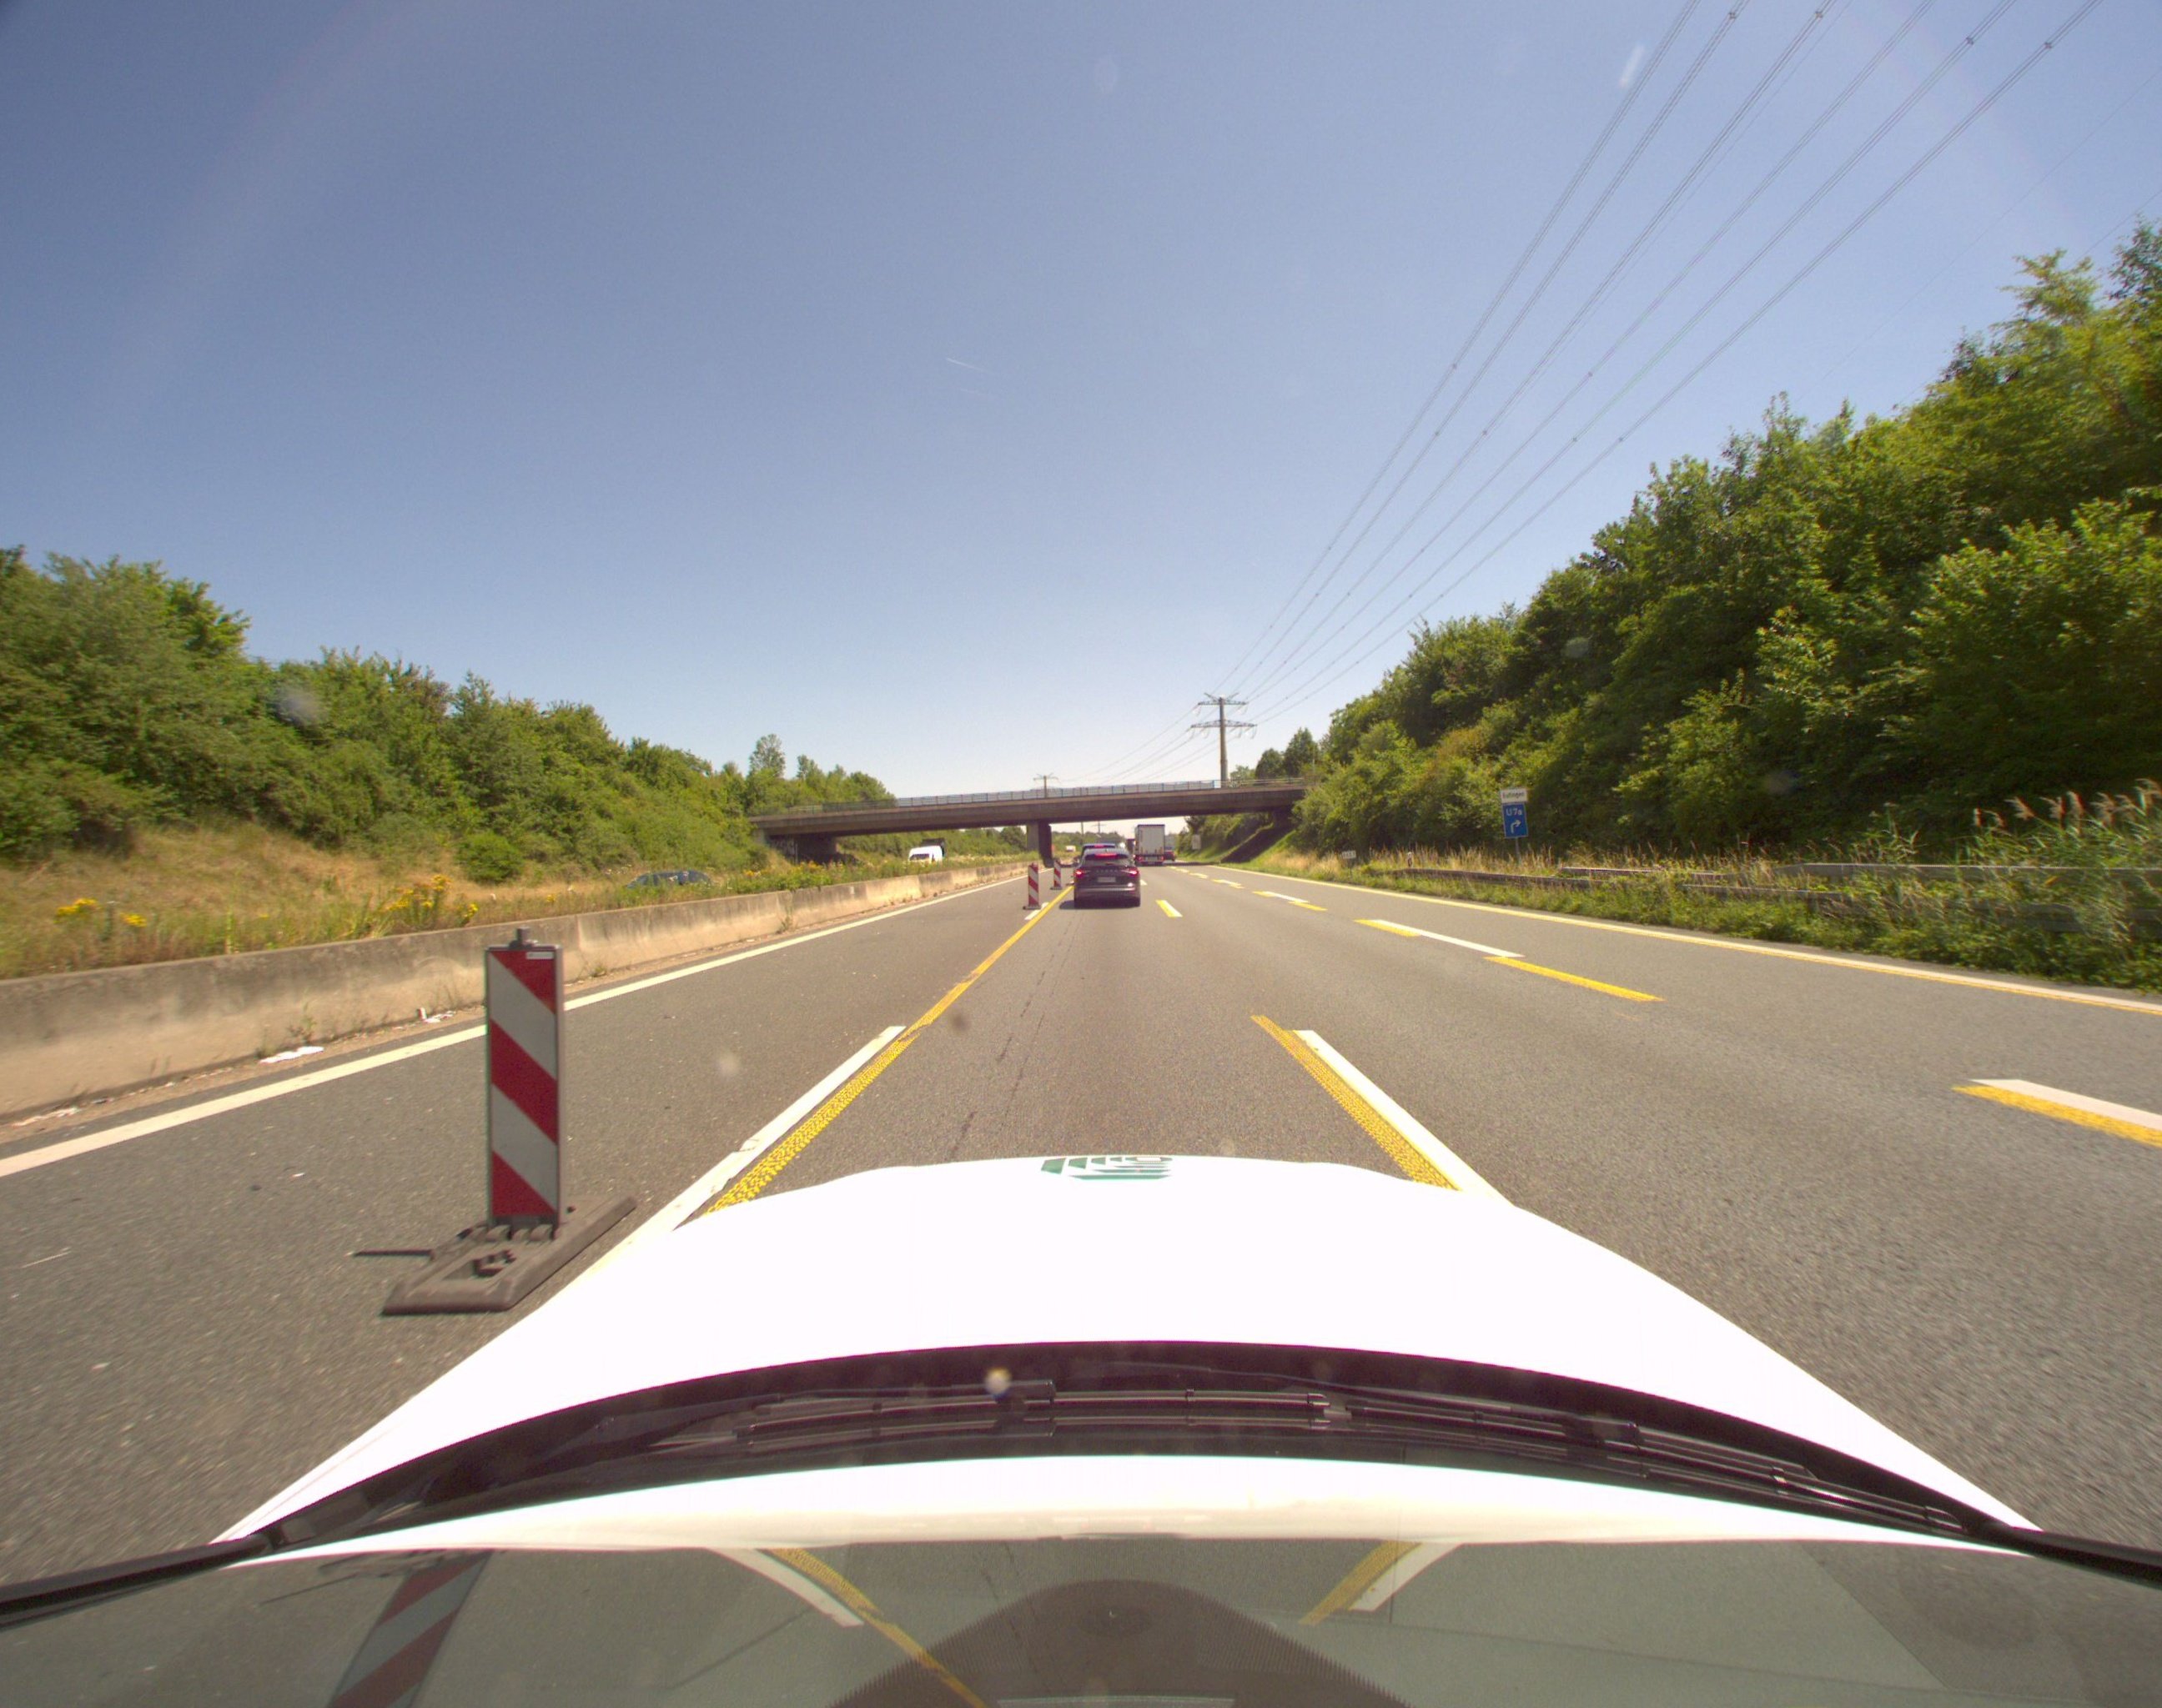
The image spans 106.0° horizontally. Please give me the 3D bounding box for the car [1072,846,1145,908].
[{"bbox_3d":[0.749,0.580,23.574,1.889,1.592,4.443,-1,1,0],"label":"car"}]

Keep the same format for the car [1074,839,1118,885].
[{"bbox_3d":[0.693,0.308,38.415,1.889,1.841,4.444,1,3,1],"label":"car"}]

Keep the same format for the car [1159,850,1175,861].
[{"bbox_3d":[11.827,0.169,112.360,1.772,1.489,4.465,-1,0,1],"label":"car"}]

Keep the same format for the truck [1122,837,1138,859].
[{"bbox_3d":[9.613,-1.230,160.885,3.065,4.146,13.063,-1,0,3],"label":"truck"}]

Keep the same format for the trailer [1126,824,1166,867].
[{"bbox_3d":[6.522,-0.877,83.409,3.055,4.042,11.487,-1,0,0],"label":"trailer"}]

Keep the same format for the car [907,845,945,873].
[{"bbox_3d":[-12.815,0.380,67.762,2.105,2.197,5.313,0,0,0],"label":"car"}]

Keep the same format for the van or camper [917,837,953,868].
[{"bbox_3d":[-15.807,-0.168,88.715,2.560,3.187,6.235,-1,0,2],"label":"van or camper"}]

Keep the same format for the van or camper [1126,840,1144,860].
[{"bbox_3d":[8.314,-0.624,125.862,2.577,2.968,6.087,0,1,1],"label":"van or camper"}]

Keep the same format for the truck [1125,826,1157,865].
[{"bbox_3d":[6.561,-0.915,90.224,3.015,4.087,7.795,-1,0,0],"label":"truck"}]
